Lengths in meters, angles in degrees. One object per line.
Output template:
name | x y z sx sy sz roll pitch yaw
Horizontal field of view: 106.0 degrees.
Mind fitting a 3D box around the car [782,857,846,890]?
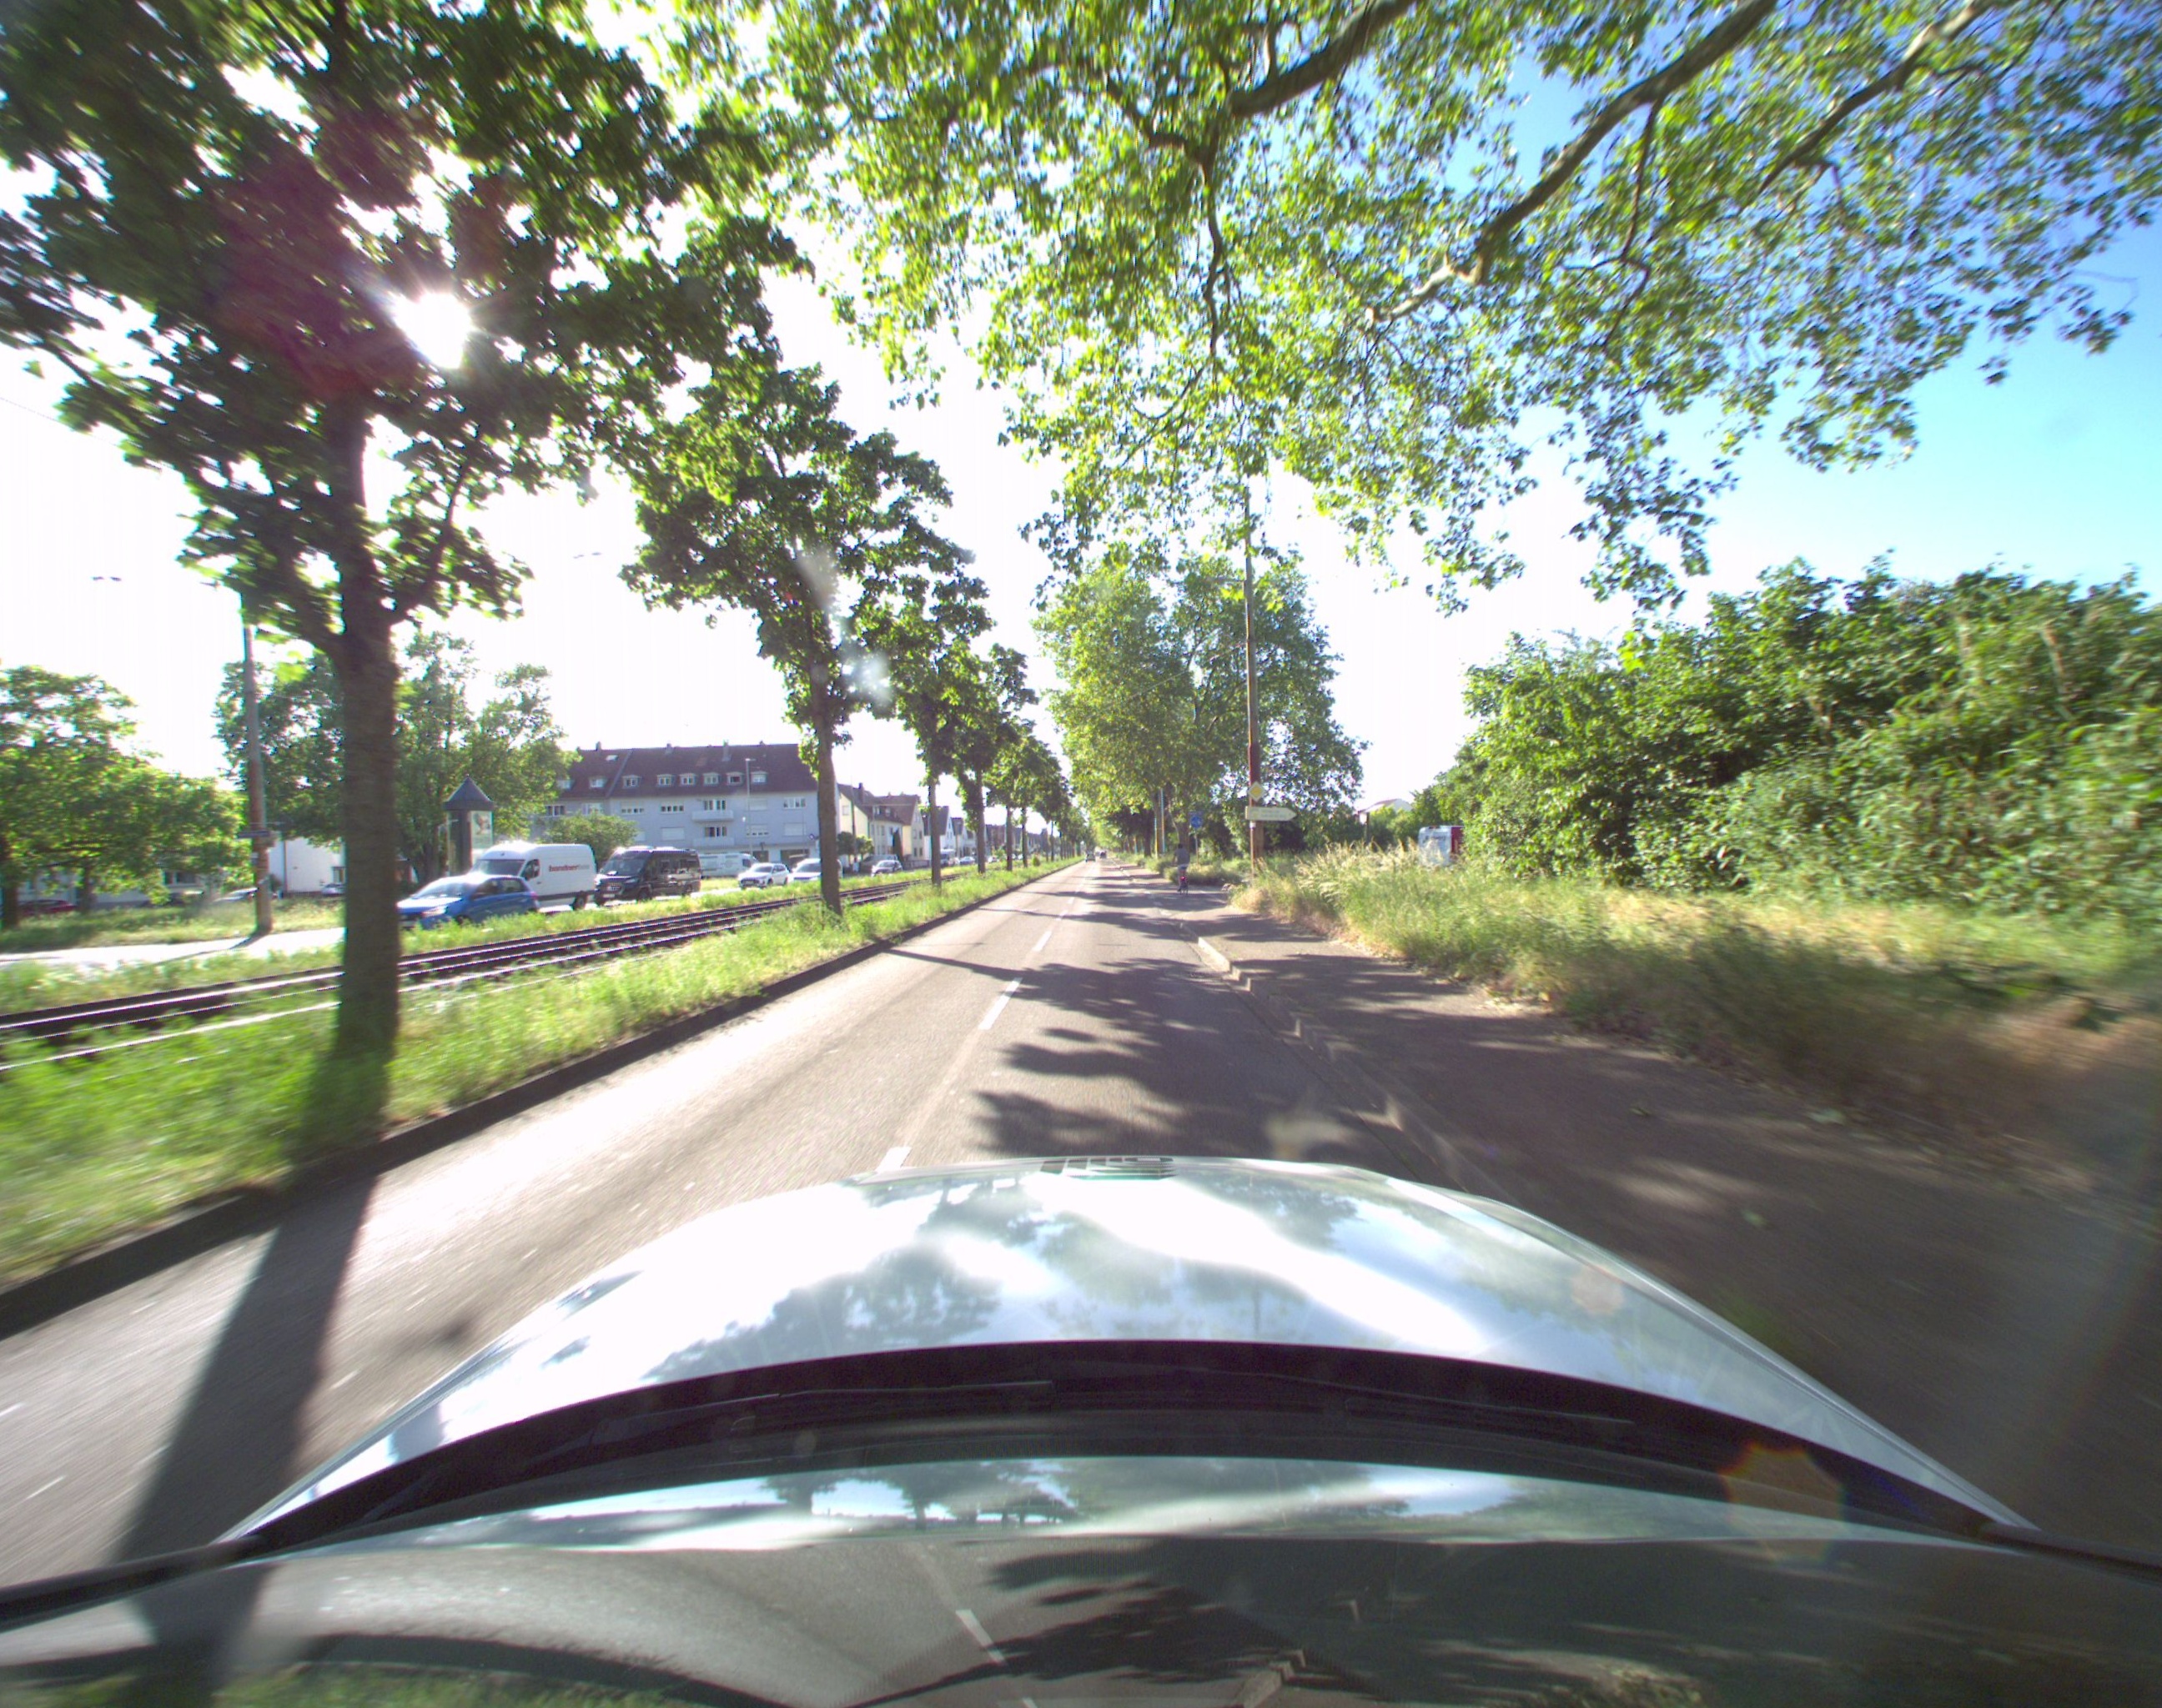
car | -14.994 1.068 45.988 1.804 1.744 4.983 -1 -1 2

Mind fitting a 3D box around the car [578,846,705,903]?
car | -20.044 0.883 37.586 2.174 2.376 6.466 -1 -1 2

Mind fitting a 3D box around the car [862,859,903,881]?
car | -15.028 1.193 61.960 1.985 1.531 3.753 -2 0 3

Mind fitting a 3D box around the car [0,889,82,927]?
car | -57.853 2.911 44.316 1.988 2.014 3.996 -1 -2 -2

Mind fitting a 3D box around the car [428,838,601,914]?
car | -20.522 0.753 29.993 1.994 2.496 6.138 -1 -1 1

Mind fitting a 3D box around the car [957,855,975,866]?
car | -18.143 1.041 128.709 1.986 1.581 4.500 -1 0 2

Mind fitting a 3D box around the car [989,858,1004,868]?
car | -12.832 1.297 124.074 1.670 1.410 4.001 -2 0 1

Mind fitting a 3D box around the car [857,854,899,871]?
car | -23.870 0.981 95.843 4.617 1.945 1.994 -1 0 -10

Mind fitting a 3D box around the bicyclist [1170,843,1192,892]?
bicyclist | 3.459 0.459 28.296 0.611 1.628 0.909 -2 0 1

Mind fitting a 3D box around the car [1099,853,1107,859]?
car | 5.081 0.485 191.069 1.754 1.513 3.278 -1 -1 2

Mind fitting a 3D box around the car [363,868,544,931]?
car | -15.660 1.077 20.608 1.551 1.395 3.821 -1 -1 1

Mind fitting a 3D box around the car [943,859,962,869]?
car | -18.153 1.431 115.015 1.818 1.412 4.658 -1 -1 1

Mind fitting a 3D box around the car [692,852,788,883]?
car | -28.880 1.149 69.182 7.050 2.507 2.328 -1 0 -4

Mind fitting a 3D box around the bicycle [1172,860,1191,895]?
bicycle | 3.488 0.801 28.342 0.438 1.153 1.823 -2 0 1

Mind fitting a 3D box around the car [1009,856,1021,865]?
car | -13.844 1.438 170.838 1.908 1.883 4.526 -1 -1 2

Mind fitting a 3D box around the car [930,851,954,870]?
car | -18.611 0.862 109.160 1.986 2.459 6.675 -1 -1 1

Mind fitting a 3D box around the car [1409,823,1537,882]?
car | 17.146 -0.068 35.663 5.004 2.439 2.312 0 0 -23

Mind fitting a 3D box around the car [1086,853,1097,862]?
car | 1.704 0.618 131.254 1.732 1.401 3.277 -1 -1 1

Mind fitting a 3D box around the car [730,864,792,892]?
car | -19.885 1.449 50.782 1.816 1.607 4.775 -1 -1 2
